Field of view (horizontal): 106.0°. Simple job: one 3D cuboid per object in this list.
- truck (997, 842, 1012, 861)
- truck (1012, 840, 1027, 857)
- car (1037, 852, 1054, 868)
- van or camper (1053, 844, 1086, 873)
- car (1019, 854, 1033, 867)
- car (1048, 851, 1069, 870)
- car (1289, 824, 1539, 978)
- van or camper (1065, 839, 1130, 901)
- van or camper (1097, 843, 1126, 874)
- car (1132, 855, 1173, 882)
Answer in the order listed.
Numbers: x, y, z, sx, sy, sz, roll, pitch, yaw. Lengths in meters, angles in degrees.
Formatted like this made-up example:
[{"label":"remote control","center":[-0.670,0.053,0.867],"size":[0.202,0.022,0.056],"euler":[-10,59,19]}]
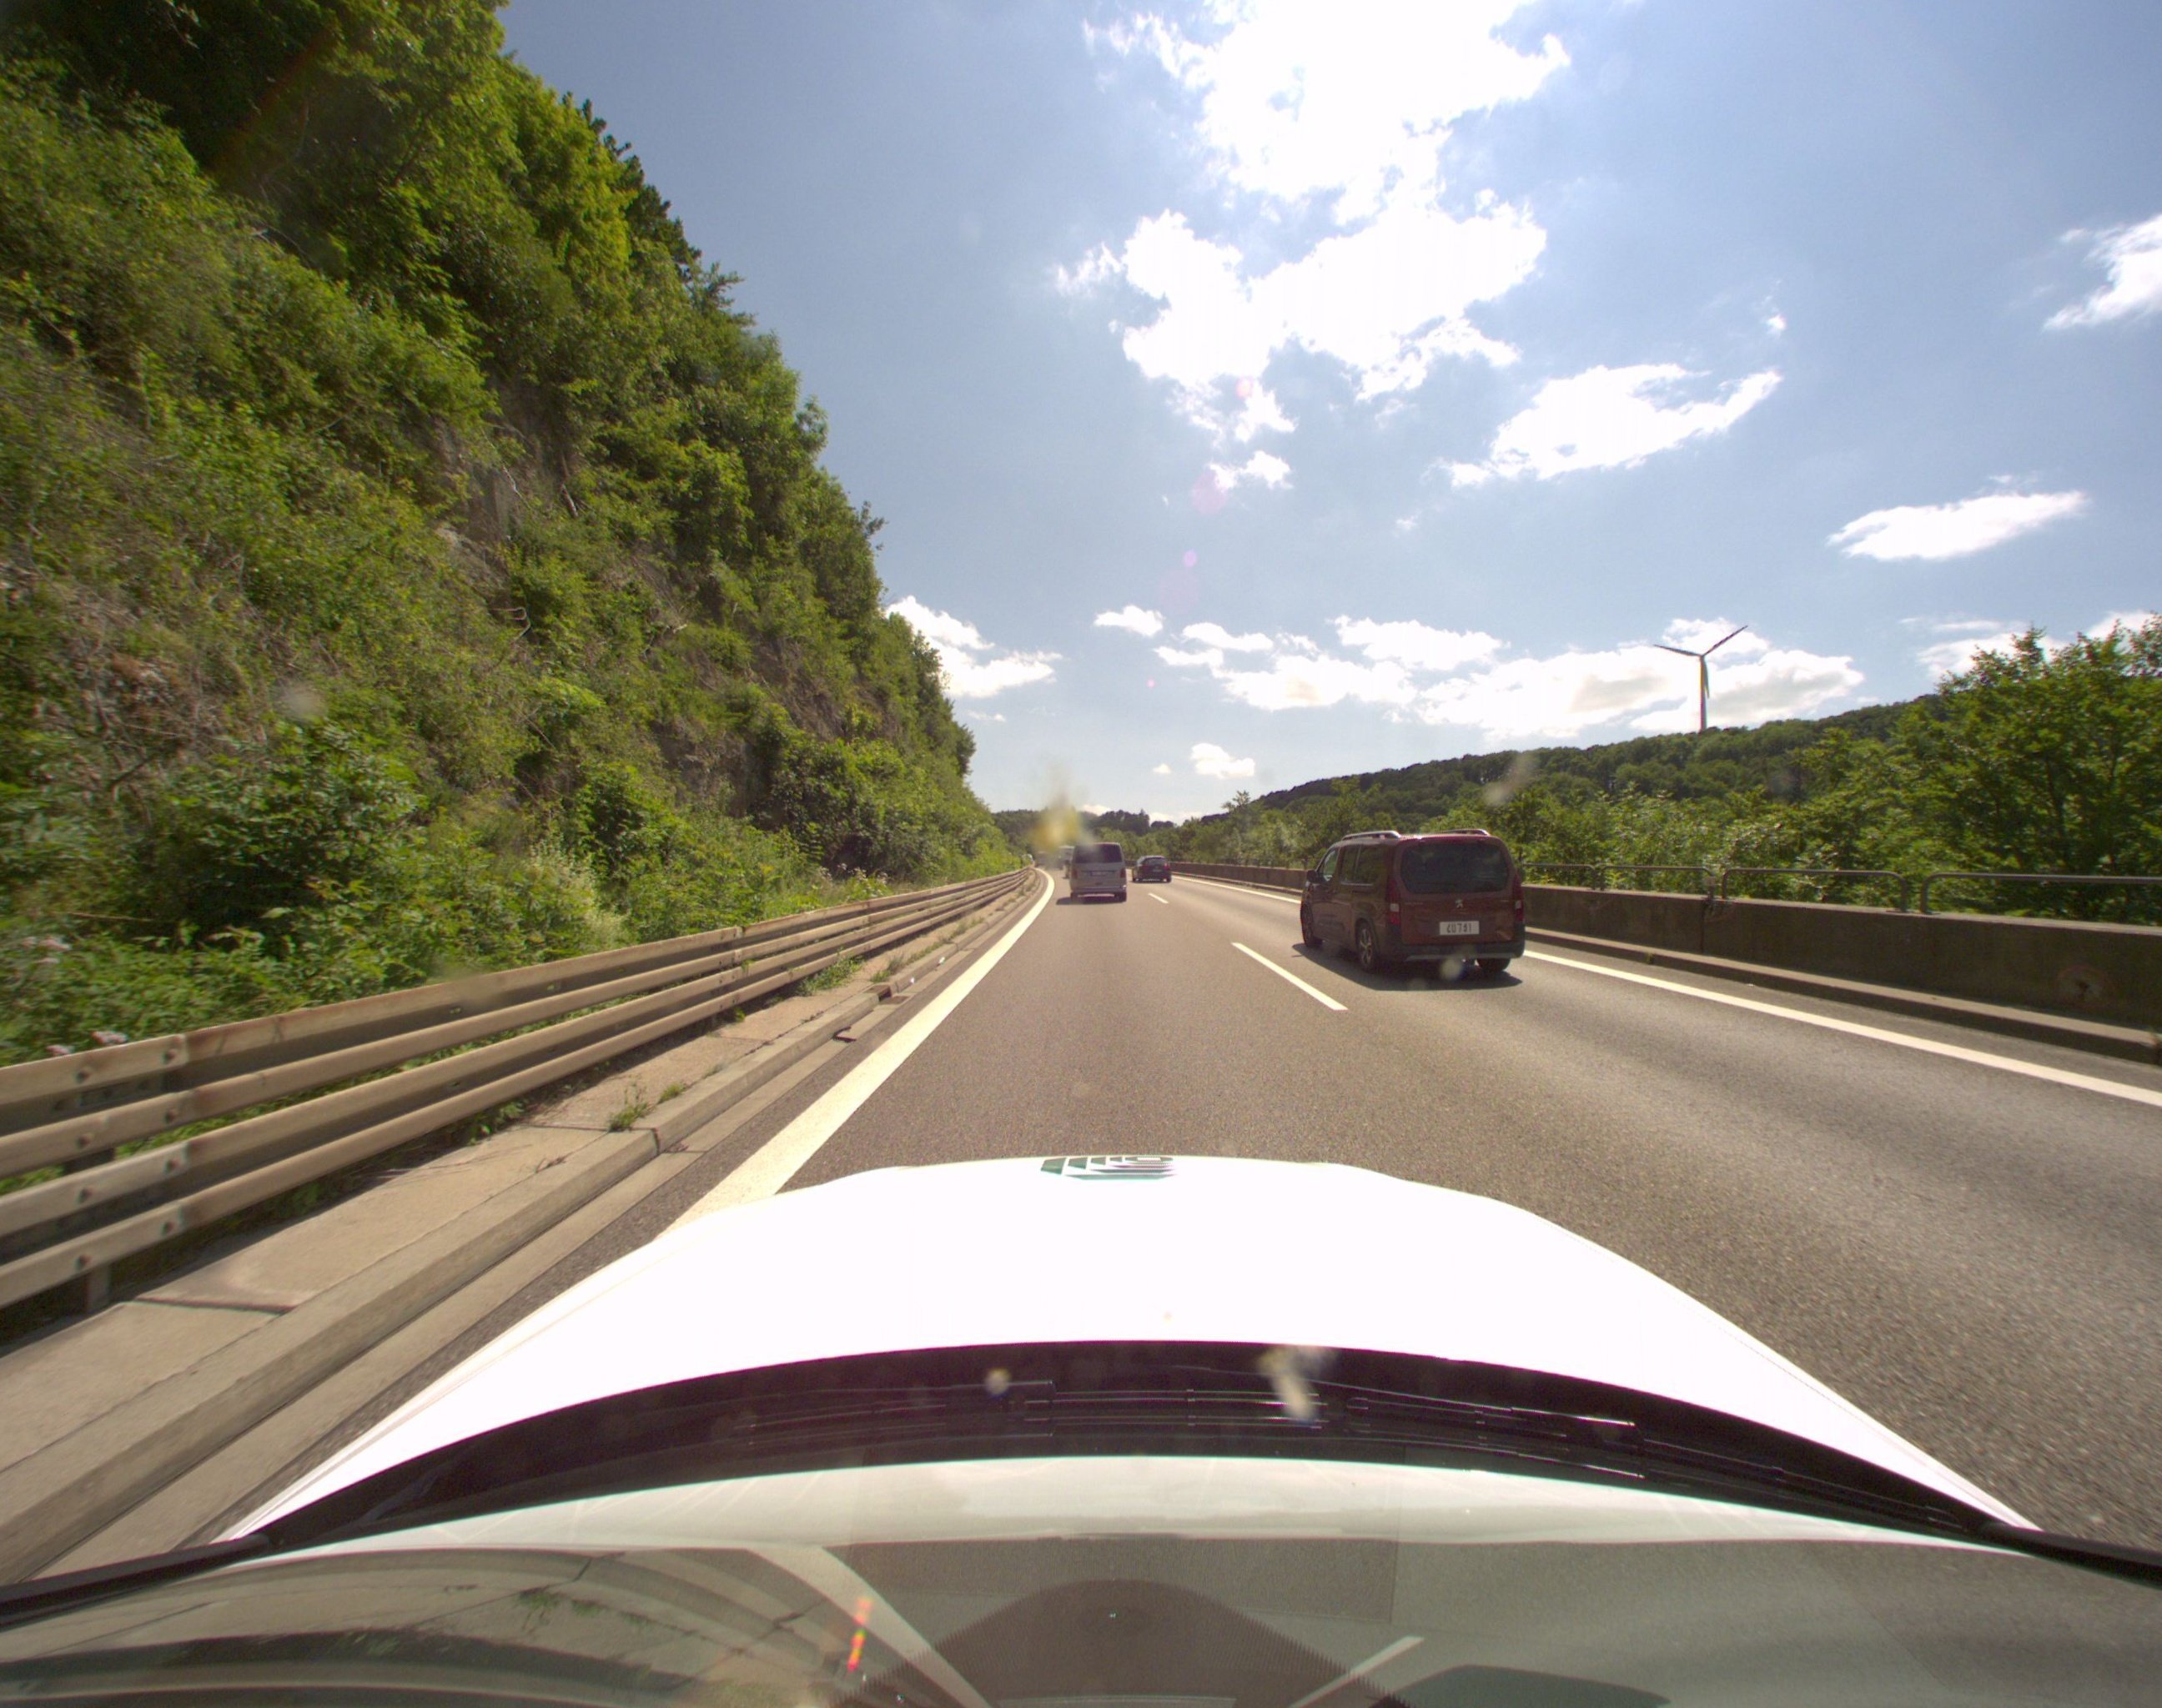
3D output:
[{"label":"truck","center":[-18.720,-0.592,198.858],"size":[3.288,4.520,7.711],"euler":[-1,-1,-7]},{"label":"truck","center":[-16.865,-1.486,222.845],"size":[3.291,4.331,7.704],"euler":[-1,-1,-9]},{"label":"car","center":[-4.235,0.718,97.240],"size":[1.989,1.817,3.996],"euler":[-1,0,-3]},{"label":"van or camper","center":[-1.685,0.583,113.122],"size":[3.277,3.789,8.082],"euler":[-1,0,-11]},{"label":"car","center":[-8.202,0.920,121.803],"size":[1.990,1.915,3.994],"euler":[0,0,-4]},{"label":"car","center":[-2.214,0.654,80.766],"size":[1.989,1.817,3.996],"euler":[-1,0,-3]},{"label":"car","center":[4.518,0.586,11.925],"size":[1.827,1.784,4.677],"euler":[-1,-1,1]},{"label":"van or camper","center":[0.488,0.521,28.159],"size":[1.871,1.949,4.288],"euler":[-1,0,-3]},{"label":"van or camper","center":[2.635,0.406,72.194],"size":[2.257,2.551,4.734],"euler":[-2,0,-1]},{"label":"car","center":[3.894,0.771,44.974],"size":[1.764,1.375,3.589],"euler":[-1,0,-2]}]
